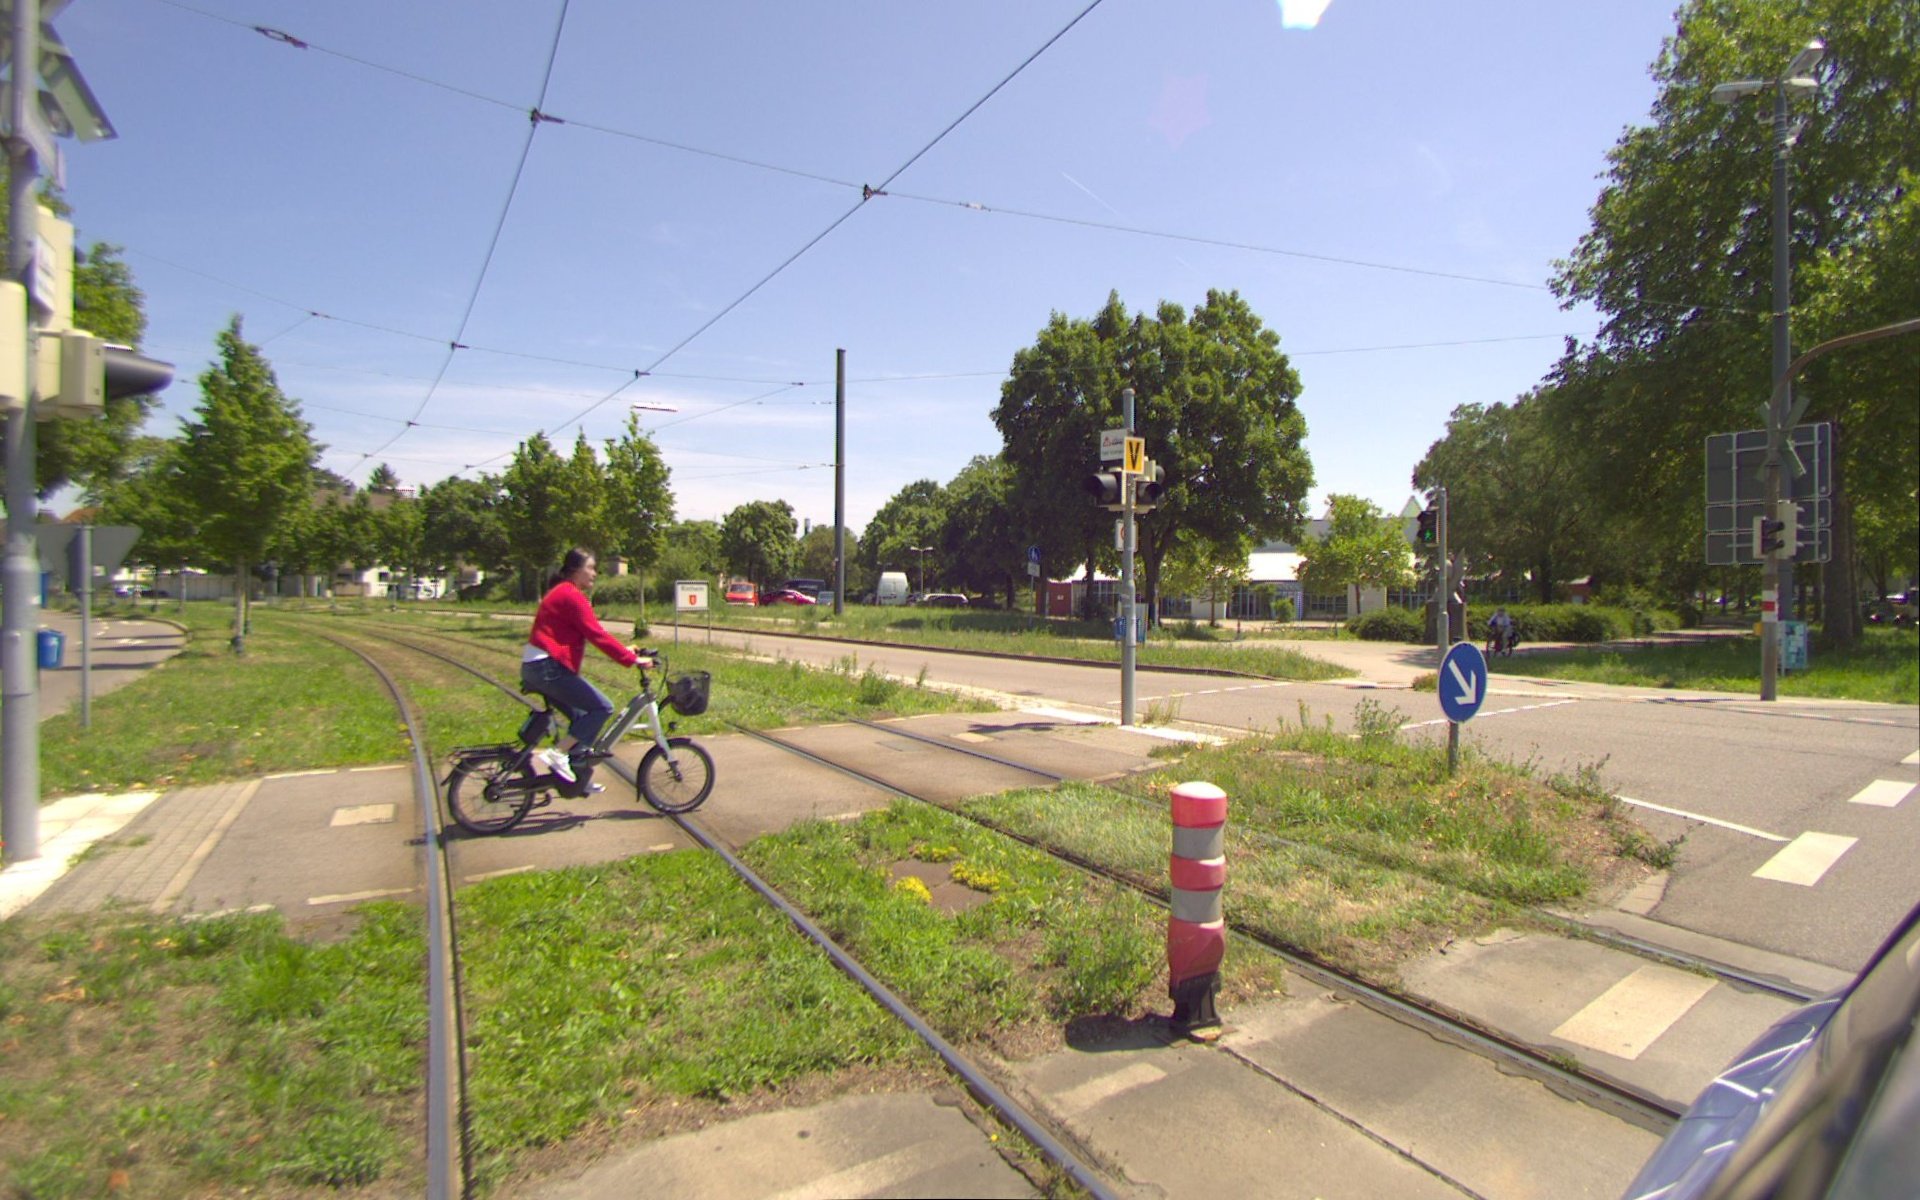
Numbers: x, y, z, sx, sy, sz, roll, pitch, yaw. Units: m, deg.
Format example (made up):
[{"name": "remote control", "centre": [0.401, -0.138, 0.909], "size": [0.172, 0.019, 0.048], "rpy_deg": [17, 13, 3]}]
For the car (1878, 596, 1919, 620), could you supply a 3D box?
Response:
[{"name": "car", "centre": [67.606, 0.554, 72.878], "size": [1.990, 1.638, 3.943], "rpy_deg": [1, 1, 39]}]

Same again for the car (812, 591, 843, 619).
[{"name": "car", "centre": [-8.363, 0.297, 63.978], "size": [1.916, 1.740, 4.076], "rpy_deg": [0, 0, -7]}]

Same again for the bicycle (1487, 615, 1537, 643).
[{"name": "bicycle", "centre": [15.631, 0.812, 28.645], "size": [1.635, 0.774, 0.466], "rpy_deg": [0, 0, -30]}]

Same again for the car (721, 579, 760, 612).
[{"name": "car", "centre": [-14.068, -0.305, 65.102], "size": [2.032, 2.028, 4.669], "rpy_deg": [0, 0, -8]}]

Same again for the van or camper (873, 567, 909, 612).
[{"name": "van or camper", "centre": [-4.563, -0.676, 66.381], "size": [2.159, 2.786, 5.136], "rpy_deg": [0, 0, -6]}]

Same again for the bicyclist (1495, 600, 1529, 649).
[{"name": "bicyclist", "centre": [15.608, 0.691, 28.638], "size": [0.653, 1.356, 0.601], "rpy_deg": [0, 0, -31]}]

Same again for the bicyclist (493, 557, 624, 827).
[{"name": "bicyclist", "centre": [-2.514, 0.532, 6.324], "size": [0.660, 1.576, 0.580], "rpy_deg": [0, 0, -32]}]

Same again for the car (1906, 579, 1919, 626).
[{"name": "car", "centre": [57.572, 0.135, 59.299], "size": [2.908, 2.687, 6.270], "rpy_deg": [1, 1, 42]}]

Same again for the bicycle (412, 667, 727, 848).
[{"name": "bicycle", "centre": [-2.426, 0.926, 6.373], "size": [1.776, 0.907, 0.589], "rpy_deg": [0, 0, -32]}]

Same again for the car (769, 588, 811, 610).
[{"name": "car", "centre": [-12.716, -0.079, 75.889], "size": [3.018, 1.624, 1.516], "rpy_deg": [0, 0, -7]}]

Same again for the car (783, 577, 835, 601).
[{"name": "car", "centre": [-13.186, -0.988, 88.369], "size": [4.330, 2.039, 2.251], "rpy_deg": [0, 0, -11]}]

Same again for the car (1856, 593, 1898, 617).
[{"name": "car", "centre": [74.142, 0.369, 81.873], "size": [1.987, 1.861, 3.950], "rpy_deg": [1, 0, 35]}]
